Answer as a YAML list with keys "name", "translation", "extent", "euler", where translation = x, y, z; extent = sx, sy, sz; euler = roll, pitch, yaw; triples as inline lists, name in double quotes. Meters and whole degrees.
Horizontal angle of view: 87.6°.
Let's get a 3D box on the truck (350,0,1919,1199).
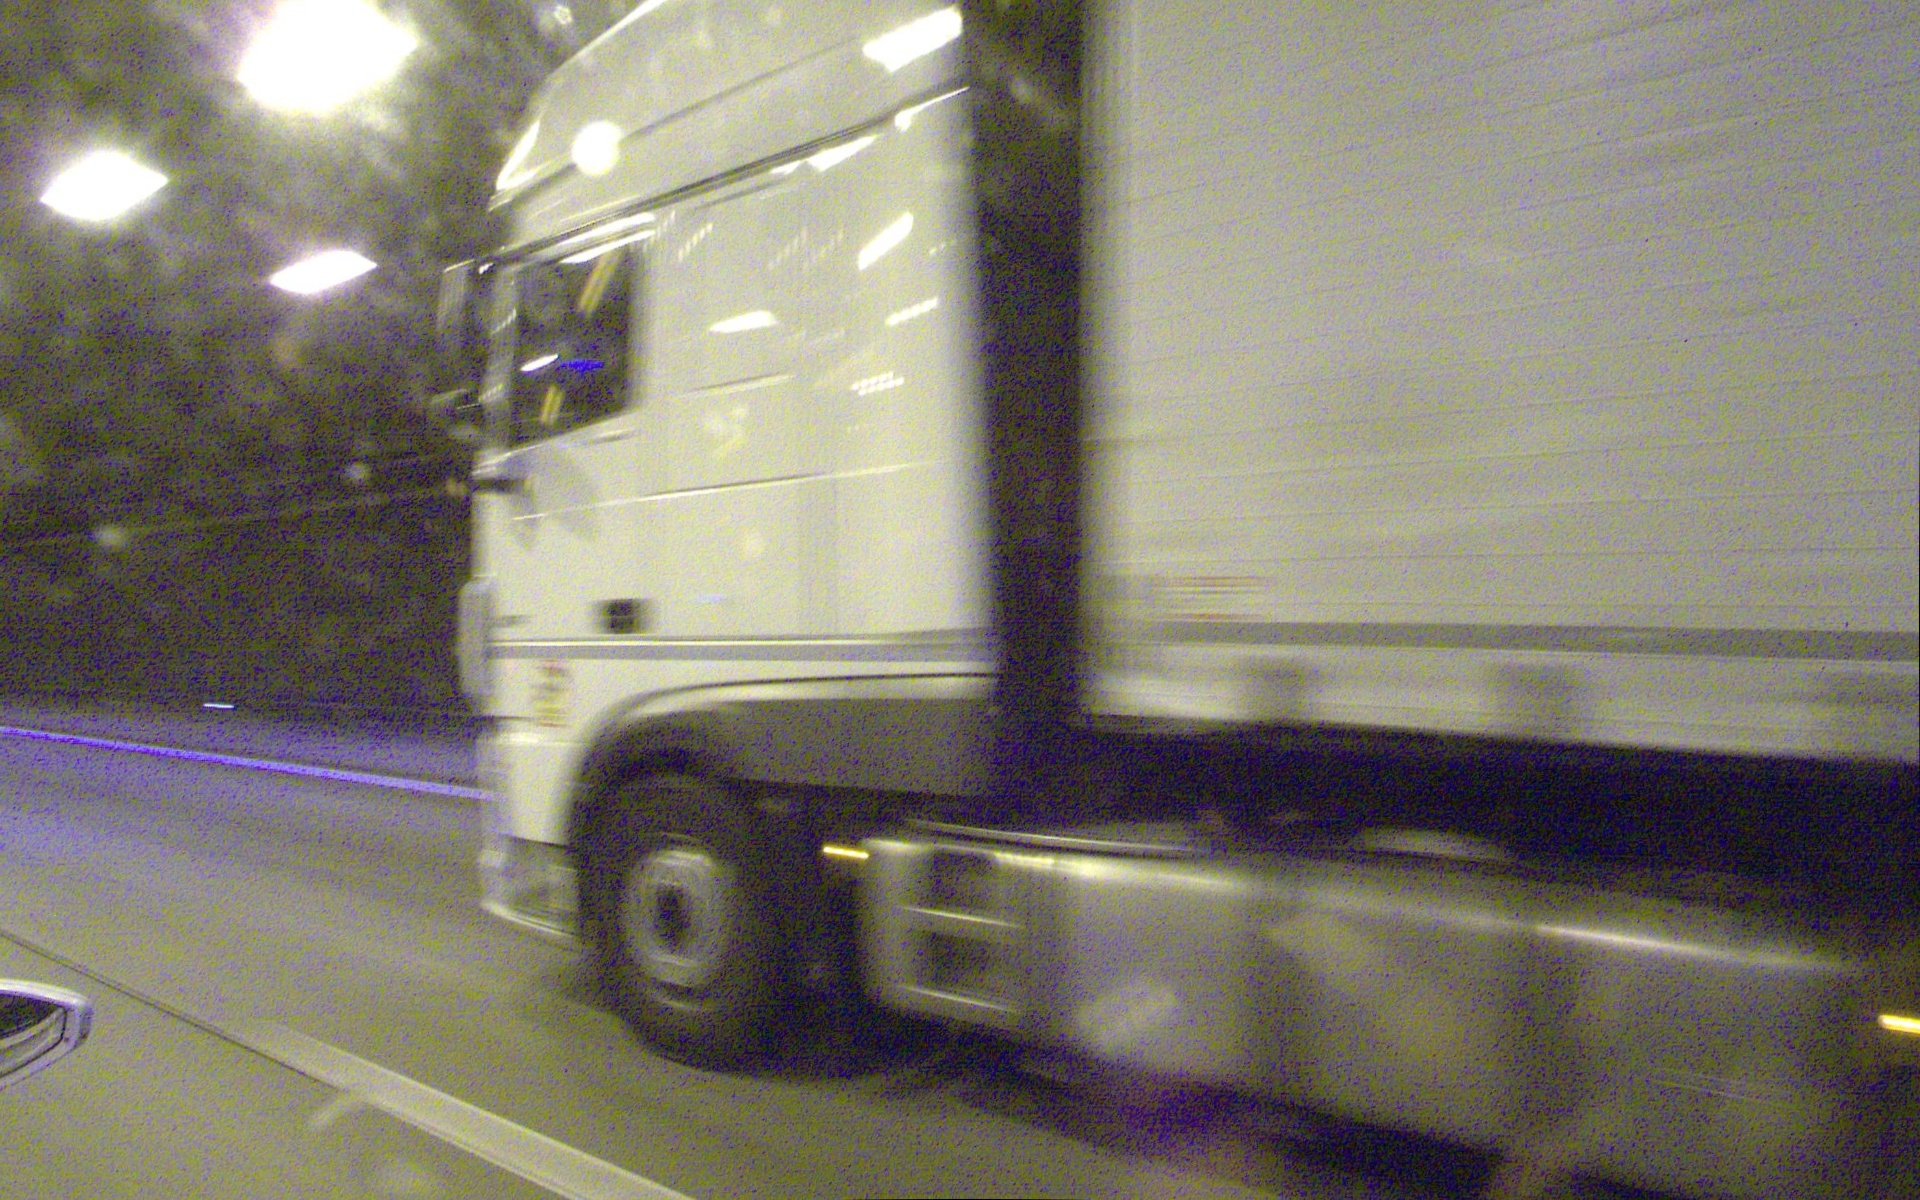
- name: "truck"
  translation: [0.654, -0.535, 3.734]
  extent: [5.919, 4.216, 2.642]
  euler: [-1, -2, 32]
